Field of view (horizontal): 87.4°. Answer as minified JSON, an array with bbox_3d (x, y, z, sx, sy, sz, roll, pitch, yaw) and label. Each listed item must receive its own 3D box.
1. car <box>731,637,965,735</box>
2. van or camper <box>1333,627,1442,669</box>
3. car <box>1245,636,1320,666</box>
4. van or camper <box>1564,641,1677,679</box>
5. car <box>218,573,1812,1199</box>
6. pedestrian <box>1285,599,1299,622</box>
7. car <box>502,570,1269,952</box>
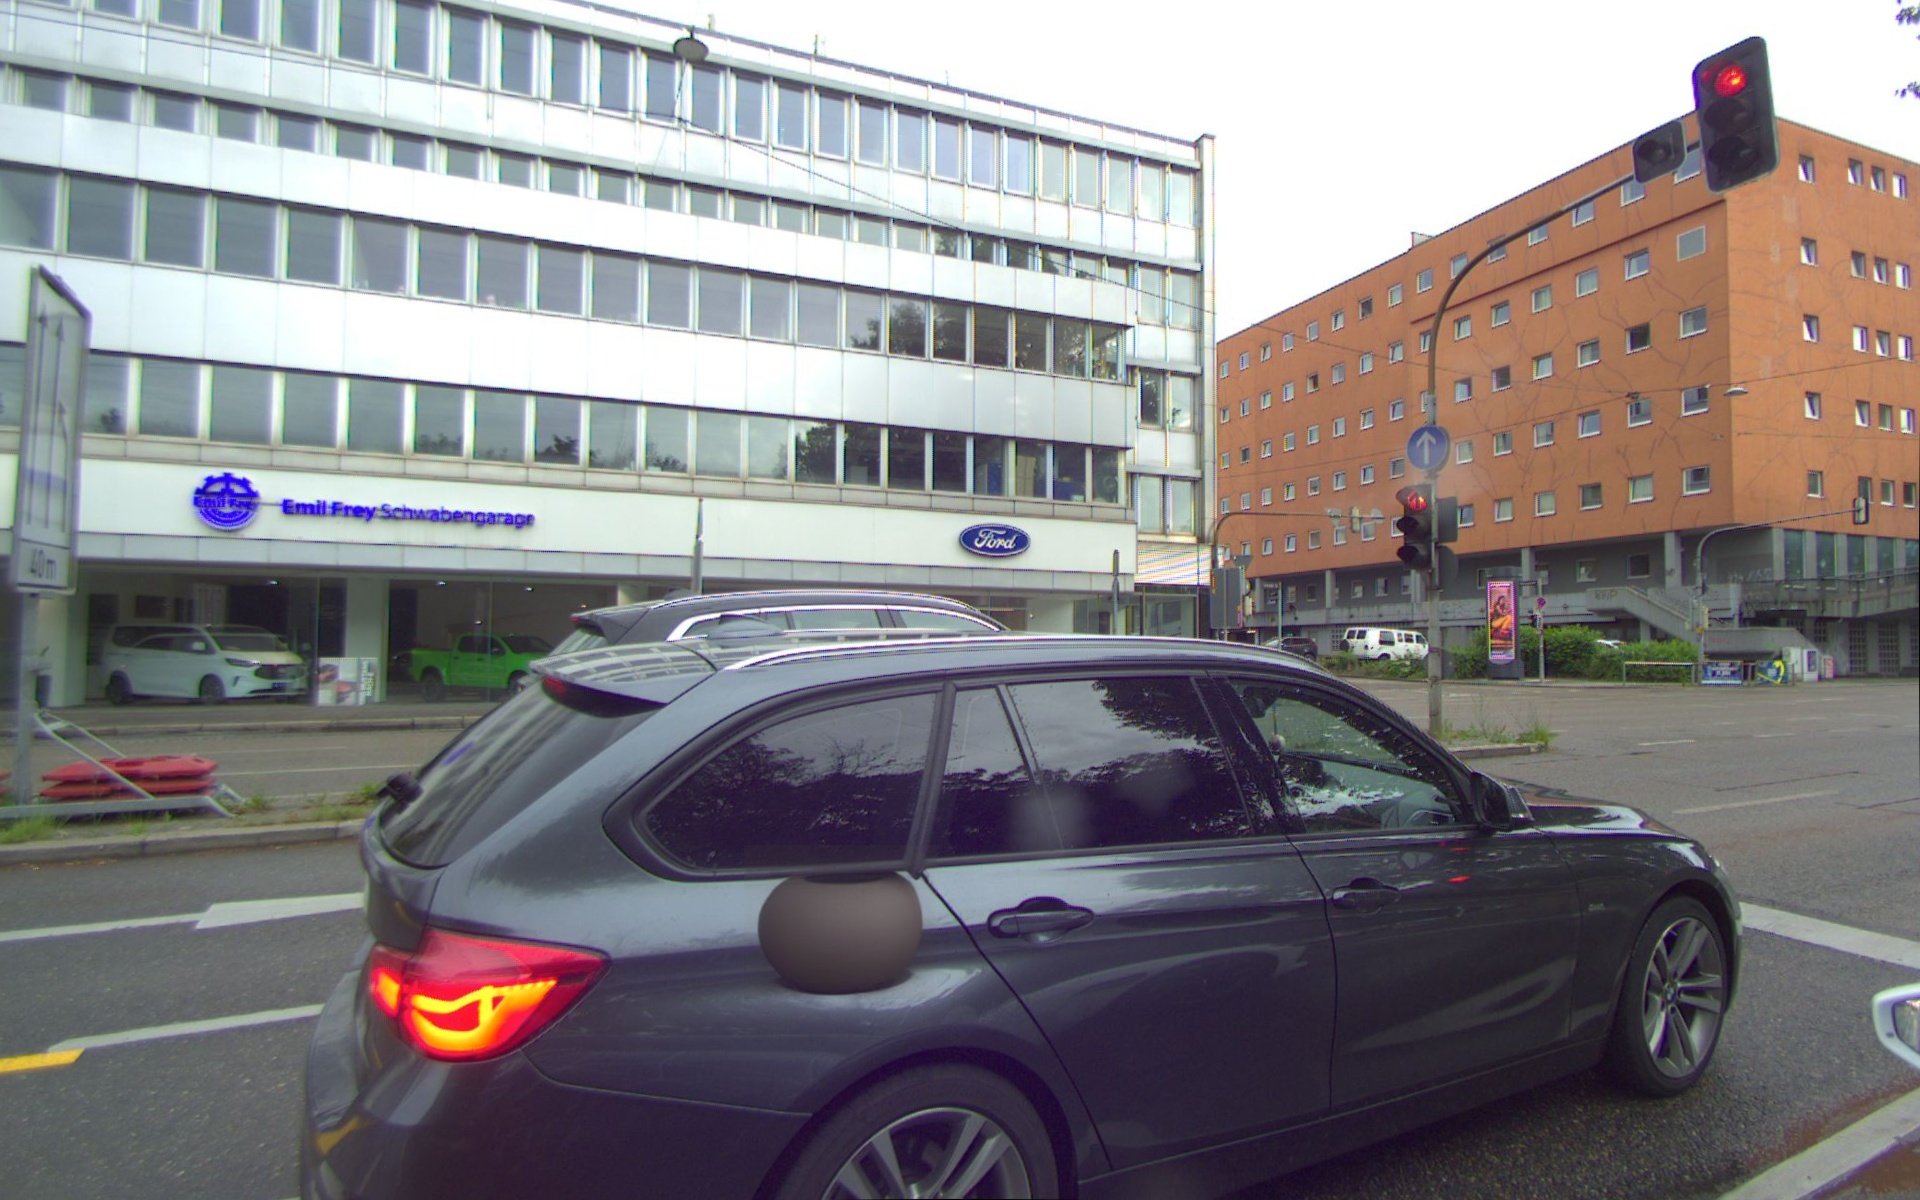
[{"bbox_3d":[-1.980,1.497,17.905,3.722,1.551,1.793,1,-6,-32],"label":"car"},{"bbox_3d":[22.293,2.509,52.353,5.376,2.004,2.121,2,0,-23],"label":"van or camper"},{"bbox_3d":[18.970,2.986,59.016,4.027,1.633,1.706,2,0,-23],"label":"car"},{"bbox_3d":[30.210,2.707,46.076,1.887,1.648,3.978,1,-2,-23],"label":"van or camper"},{"bbox_3d":[0.567,0.794,3.134,4.424,1.477,1.769,2,-3,-30],"label":"car"},{"bbox_3d":[26.904,0.870,81.502,0.714,1.864,0.761,2,0,-21],"label":"pedestrian"},{"bbox_3d":[-0.376,0.761,6.244,4.389,1.678,1.802,2,0,-28],"label":"car"}]
